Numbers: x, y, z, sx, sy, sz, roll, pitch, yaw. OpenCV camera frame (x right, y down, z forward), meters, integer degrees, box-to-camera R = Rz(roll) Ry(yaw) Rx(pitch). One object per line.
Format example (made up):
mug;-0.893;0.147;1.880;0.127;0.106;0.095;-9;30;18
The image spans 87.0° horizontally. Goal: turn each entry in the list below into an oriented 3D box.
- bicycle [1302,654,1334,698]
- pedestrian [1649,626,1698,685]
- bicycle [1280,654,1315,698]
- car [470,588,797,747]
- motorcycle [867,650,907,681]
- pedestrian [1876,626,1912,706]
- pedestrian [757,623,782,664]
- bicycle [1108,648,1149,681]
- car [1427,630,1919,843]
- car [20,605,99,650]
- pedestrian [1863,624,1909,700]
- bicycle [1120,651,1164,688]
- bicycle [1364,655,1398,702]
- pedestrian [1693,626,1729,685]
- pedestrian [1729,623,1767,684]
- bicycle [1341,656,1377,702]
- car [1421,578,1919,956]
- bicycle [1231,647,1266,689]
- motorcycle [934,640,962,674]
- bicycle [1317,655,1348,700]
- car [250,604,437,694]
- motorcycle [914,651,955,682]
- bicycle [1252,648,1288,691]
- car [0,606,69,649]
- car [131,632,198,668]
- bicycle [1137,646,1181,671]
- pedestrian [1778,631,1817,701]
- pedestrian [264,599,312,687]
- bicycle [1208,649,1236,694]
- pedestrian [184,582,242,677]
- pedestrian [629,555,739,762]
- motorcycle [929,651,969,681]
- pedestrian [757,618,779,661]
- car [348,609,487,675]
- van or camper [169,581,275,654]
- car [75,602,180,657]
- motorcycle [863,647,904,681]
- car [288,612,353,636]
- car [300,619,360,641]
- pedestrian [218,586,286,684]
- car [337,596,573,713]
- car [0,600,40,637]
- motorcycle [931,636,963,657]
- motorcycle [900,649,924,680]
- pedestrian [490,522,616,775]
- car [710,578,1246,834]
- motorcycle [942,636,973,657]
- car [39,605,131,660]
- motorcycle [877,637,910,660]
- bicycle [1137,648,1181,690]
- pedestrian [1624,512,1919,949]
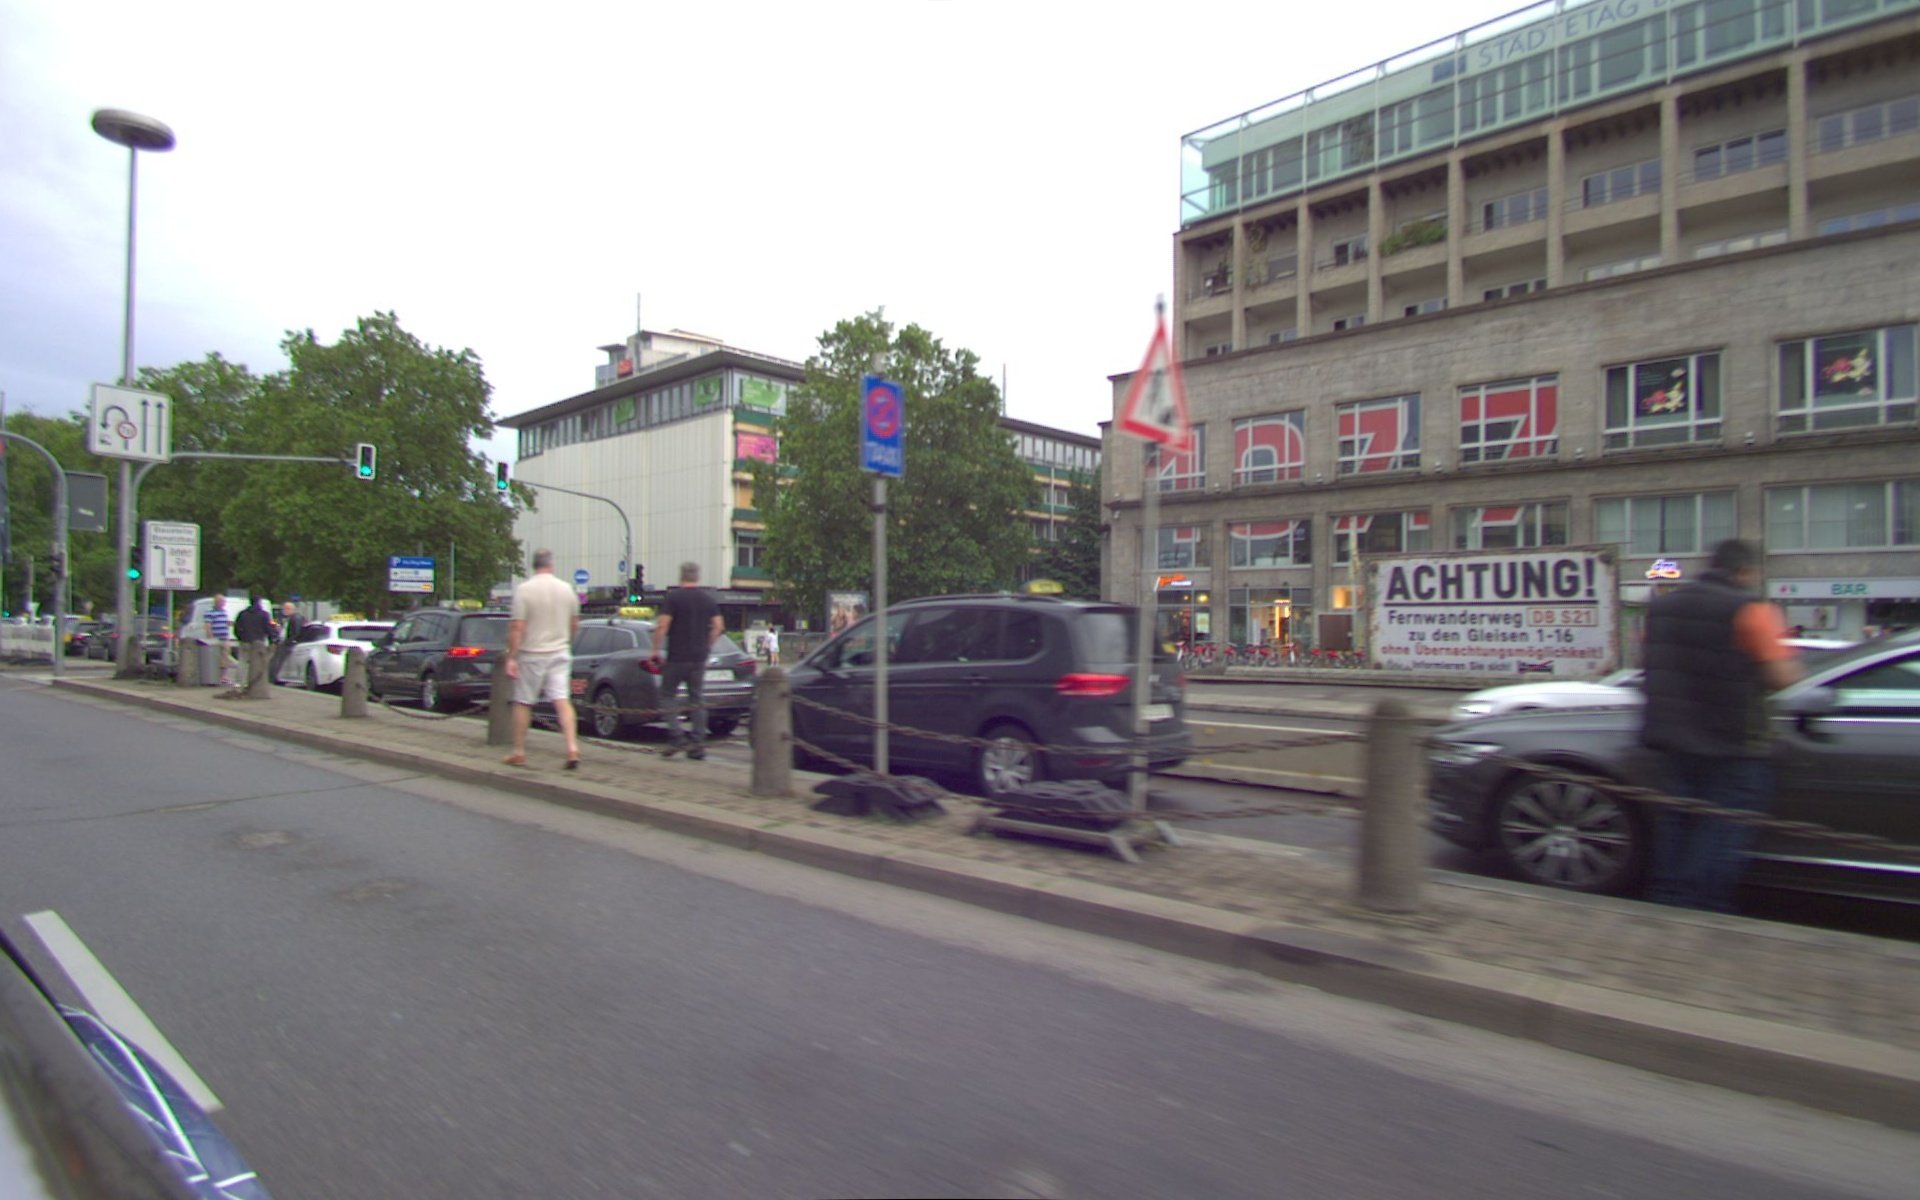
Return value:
bicycle;11.489;2.412;32.418;0.579;1.335;1.692;-1;-2;33
pedestrian;14.157;1.089;20.093;0.694;1.117;0.624;-1;-1;29
bicycle;10.967;2.446;32.893;0.678;1.335;1.692;-1;-2;33
car;-4.380;0.807;13.171;4.680;1.703;1.909;-1;-4;42
motorcycle;-2.582;2.292;35.723;0.471;1.054;1.625;0;-2;-42
pedestrian;20.716;1.449;22.444;0.555;1.730;0.485;-2;-2;44
pedestrian;-7.421;1.704;39.457;0.747;1.584;0.472;0;-4;24
bicycle;6.077;2.314;36.479;1.583;1.118;0.434;-1;-1;-37
car;7.294;1.173;9.827;4.680;1.703;1.909;-1;-4;42
car;-37.151;1.179;41.710;4.479;1.735;1.766;-3;-4;40
pedestrian;21.605;1.430;23.624;0.691;1.730;0.464;-1;-2;35
bicycle;5.835;2.203;32.372;0.595;1.085;2.071;-2;-1;34
bicycle;12.912;2.391;31.003;0.559;1.335;2.189;-1;-2;32
pedestrian;22.597;1.663;30.457;0.745;1.730;0.624;-1;-2;29
pedestrian;22.575;1.523;28.999;0.745;1.730;0.624;-1;-2;29
bicycle;12.400;2.440;31.420;0.678;1.335;1.912;-1;-2;33
car;5.140;0.735;4.564;5.259;1.589;1.909;-1;-4;42
bicycle;9.677;2.266;33.880;0.678;1.335;1.654;-1;-2;33
motorcycle;-0.424;1.949;34.808;0.593;1.065;1.819;-1;-1;-11
bicycle;11.650;2.405;31.664;0.570;1.335;1.548;-1;-2;33
car;-12.726;0.981;20.753;4.841;1.633;1.993;-2;-3;42
motorcycle;-0.943;2.420;37.108;0.574;1.065;1.626;0;-1;-40
bicycle;10.181;2.276;33.221;0.678;1.335;1.715;-1;-2;33
car;-43.098;1.317;46.915;4.561;1.866;1.896;-2;-3;39
car;-39.922;2.490;50.780;3.799;1.658;1.816;-2;-1;39
bicycle;7.103;2.095;36.195;1.376;0.857;0.673;-2;-1;31
pedestrian;19.328;1.500;23.352;0.640;1.578;0.488;-1;-2;43
pedestrian;-13.427;0.854;20.216;0.592;1.724;0.644;-2;-2;40
bicycle;9.021;2.436;34.853;0.512;1.445;1.473;-2;-1;31
pedestrian;-14.512;0.586;19.683;0.550;1.789;0.754;2;-4;-14
pedestrian;-2.497;0.511;9.161;0.711;1.768;0.691;-2;-3;42
motorcycle;-0.434;2.465;37.927;0.574;1.065;1.626;0;-1;-40
pedestrian;-7.548;1.540;39.791;0.606;1.654;0.525;0;-4;22
car;-15.236;1.173;28.327;4.680;1.703;1.909;-1;-4;42
van or camper;-28.400;0.732;38.888;5.367;2.533;1.973;-2;-5;41
car;-27.664;0.983;33.578;4.496;1.712;1.884;-2;-1;40
motorcycle;-2.806;2.307;36.895;0.574;1.181;1.625;0;-2;-42
car;-47.897;1.809;75.843;3.683;1.554;1.857;-2;1;-11
car;-62.542;2.933;100.482;2.037;2.029;4.763;-3;-2;45
pedestrian;-13.301;0.667;19.019;0.604;1.789;0.776;-1;-5;30
car;-8.561;0.875;16.966;4.680;1.703;1.909;-1;-4;42
car;-47.435;0.951;50.275;4.416;1.715;1.872;-2;-1;38
motorcycle;-0.684;2.416;52.515;1.715;1.055;0.525;-2;-2;39
motorcycle;-1.883;2.513;39.688;0.573;1.142;1.628;-1;-1;-15
pedestrian;-3.470;0.397;8.619;0.772;2.023;0.715;-2;-2;42
car;-0.052;0.789;9.048;4.680;1.703;1.909;-1;-4;42
motorcycle;-0.132;2.436;53.267;1.715;1.055;0.525;-2;-2;39
car;-32.532;1.226;37.604;4.519;1.912;1.884;-2;-1;40
motorcycle;-3.218;2.336;48.942;1.715;1.055;0.525;-2;-2;39
bicycle;6.316;2.159;32.039;0.595;1.189;2.071;-2;-1;34
pedestrian;3.495;0.496;4.294;0.995;1.619;0.715;-2;-2;42
